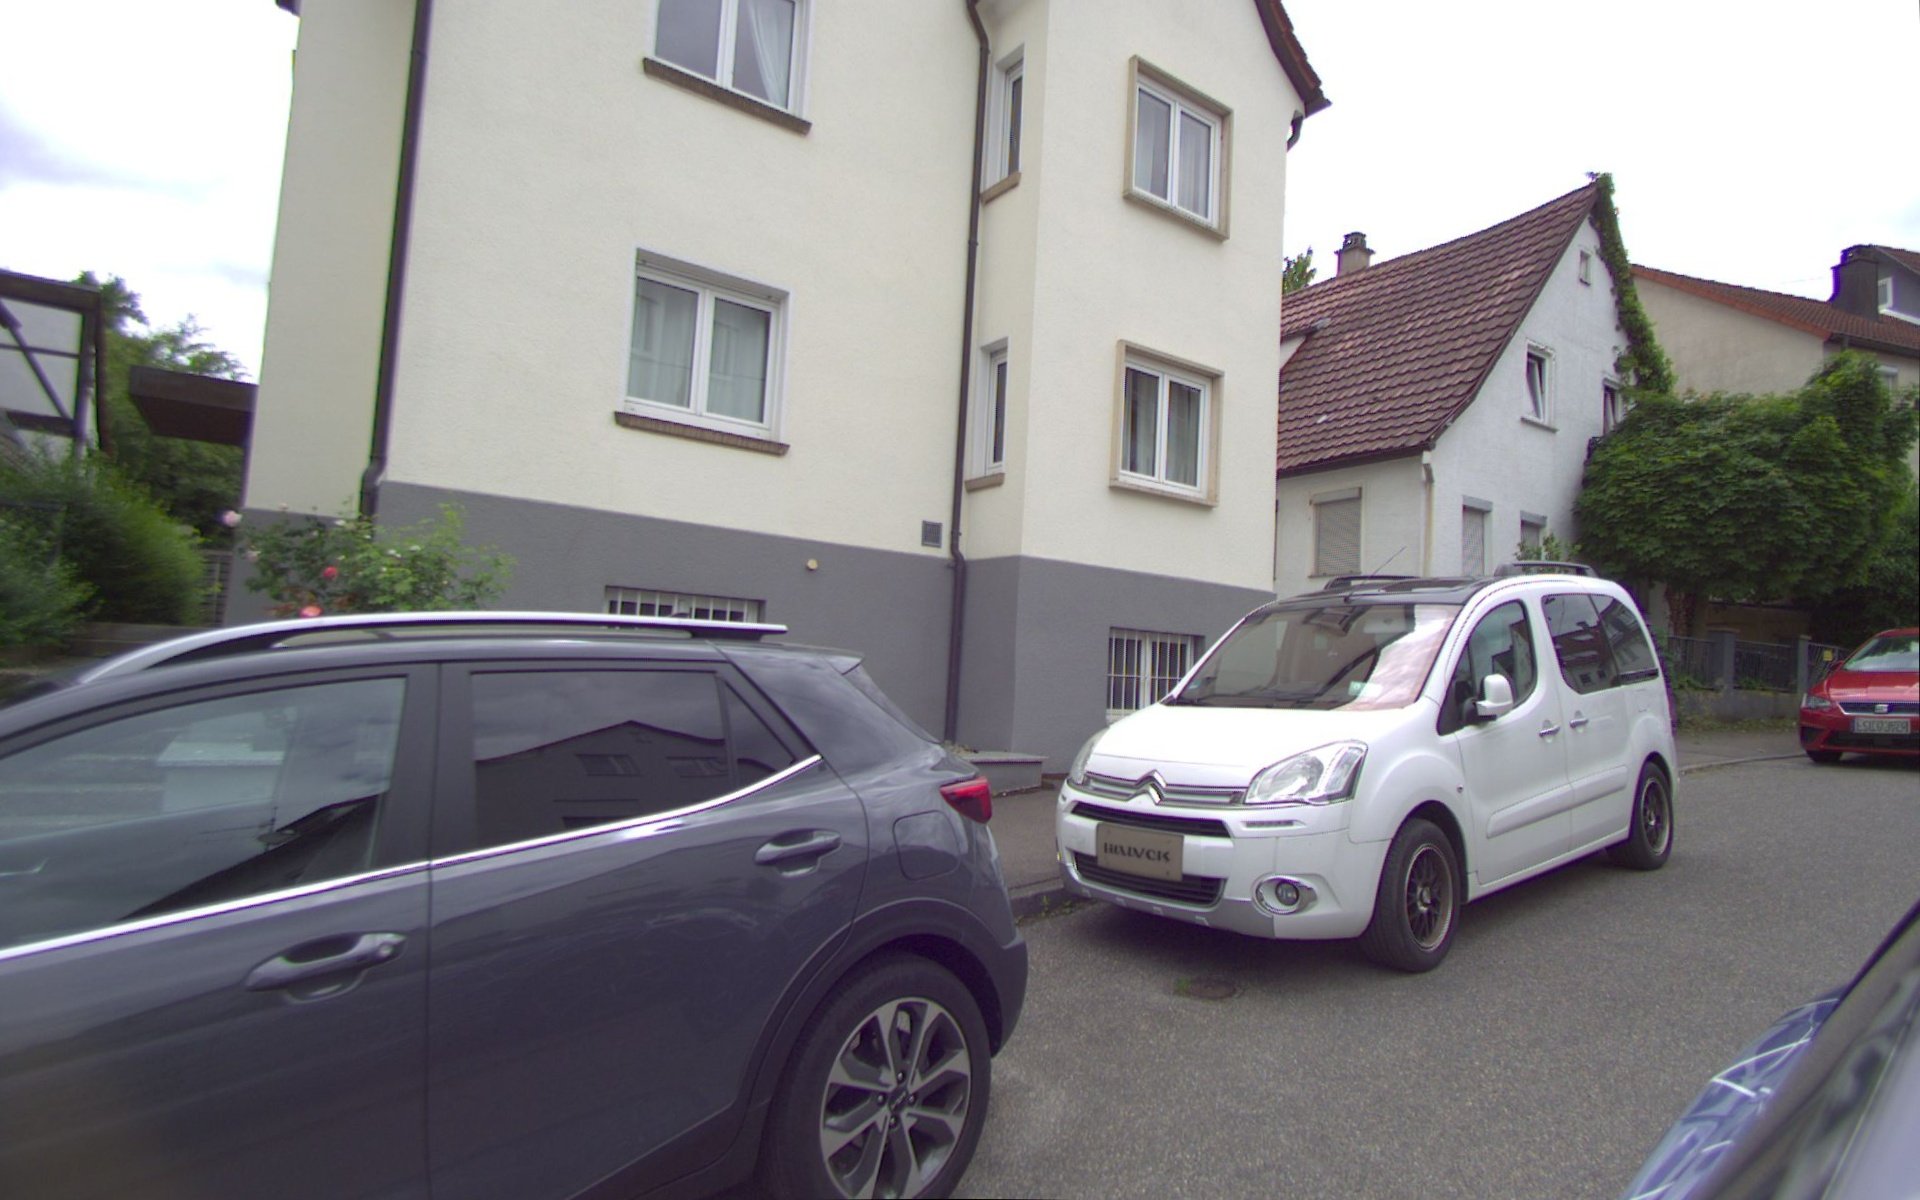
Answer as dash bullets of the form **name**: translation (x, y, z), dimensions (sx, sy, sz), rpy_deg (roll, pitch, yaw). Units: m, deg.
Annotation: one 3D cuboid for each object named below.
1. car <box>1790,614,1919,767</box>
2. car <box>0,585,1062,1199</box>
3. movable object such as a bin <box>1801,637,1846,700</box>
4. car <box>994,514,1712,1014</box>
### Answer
- **car**: translation (10.809, 0.876, 10.821), dimensions (3.774, 1.471, 1.685), rpy_deg (0, -3, -30)
- **car**: translation (-1.813, 0.786, 2.108), dimensions (3.980, 1.526, 1.735), rpy_deg (0, -3, -41)
- **movable object such as a bin**: translation (13.526, 1.058, 15.850), dimensions (0.366, 0.962, 0.373), rpy_deg (0, -2, -17)
- **car**: translation (2.421, 0.654, 5.775), dimensions (4.224, 1.838, 1.839), rpy_deg (0, -4, -38)
